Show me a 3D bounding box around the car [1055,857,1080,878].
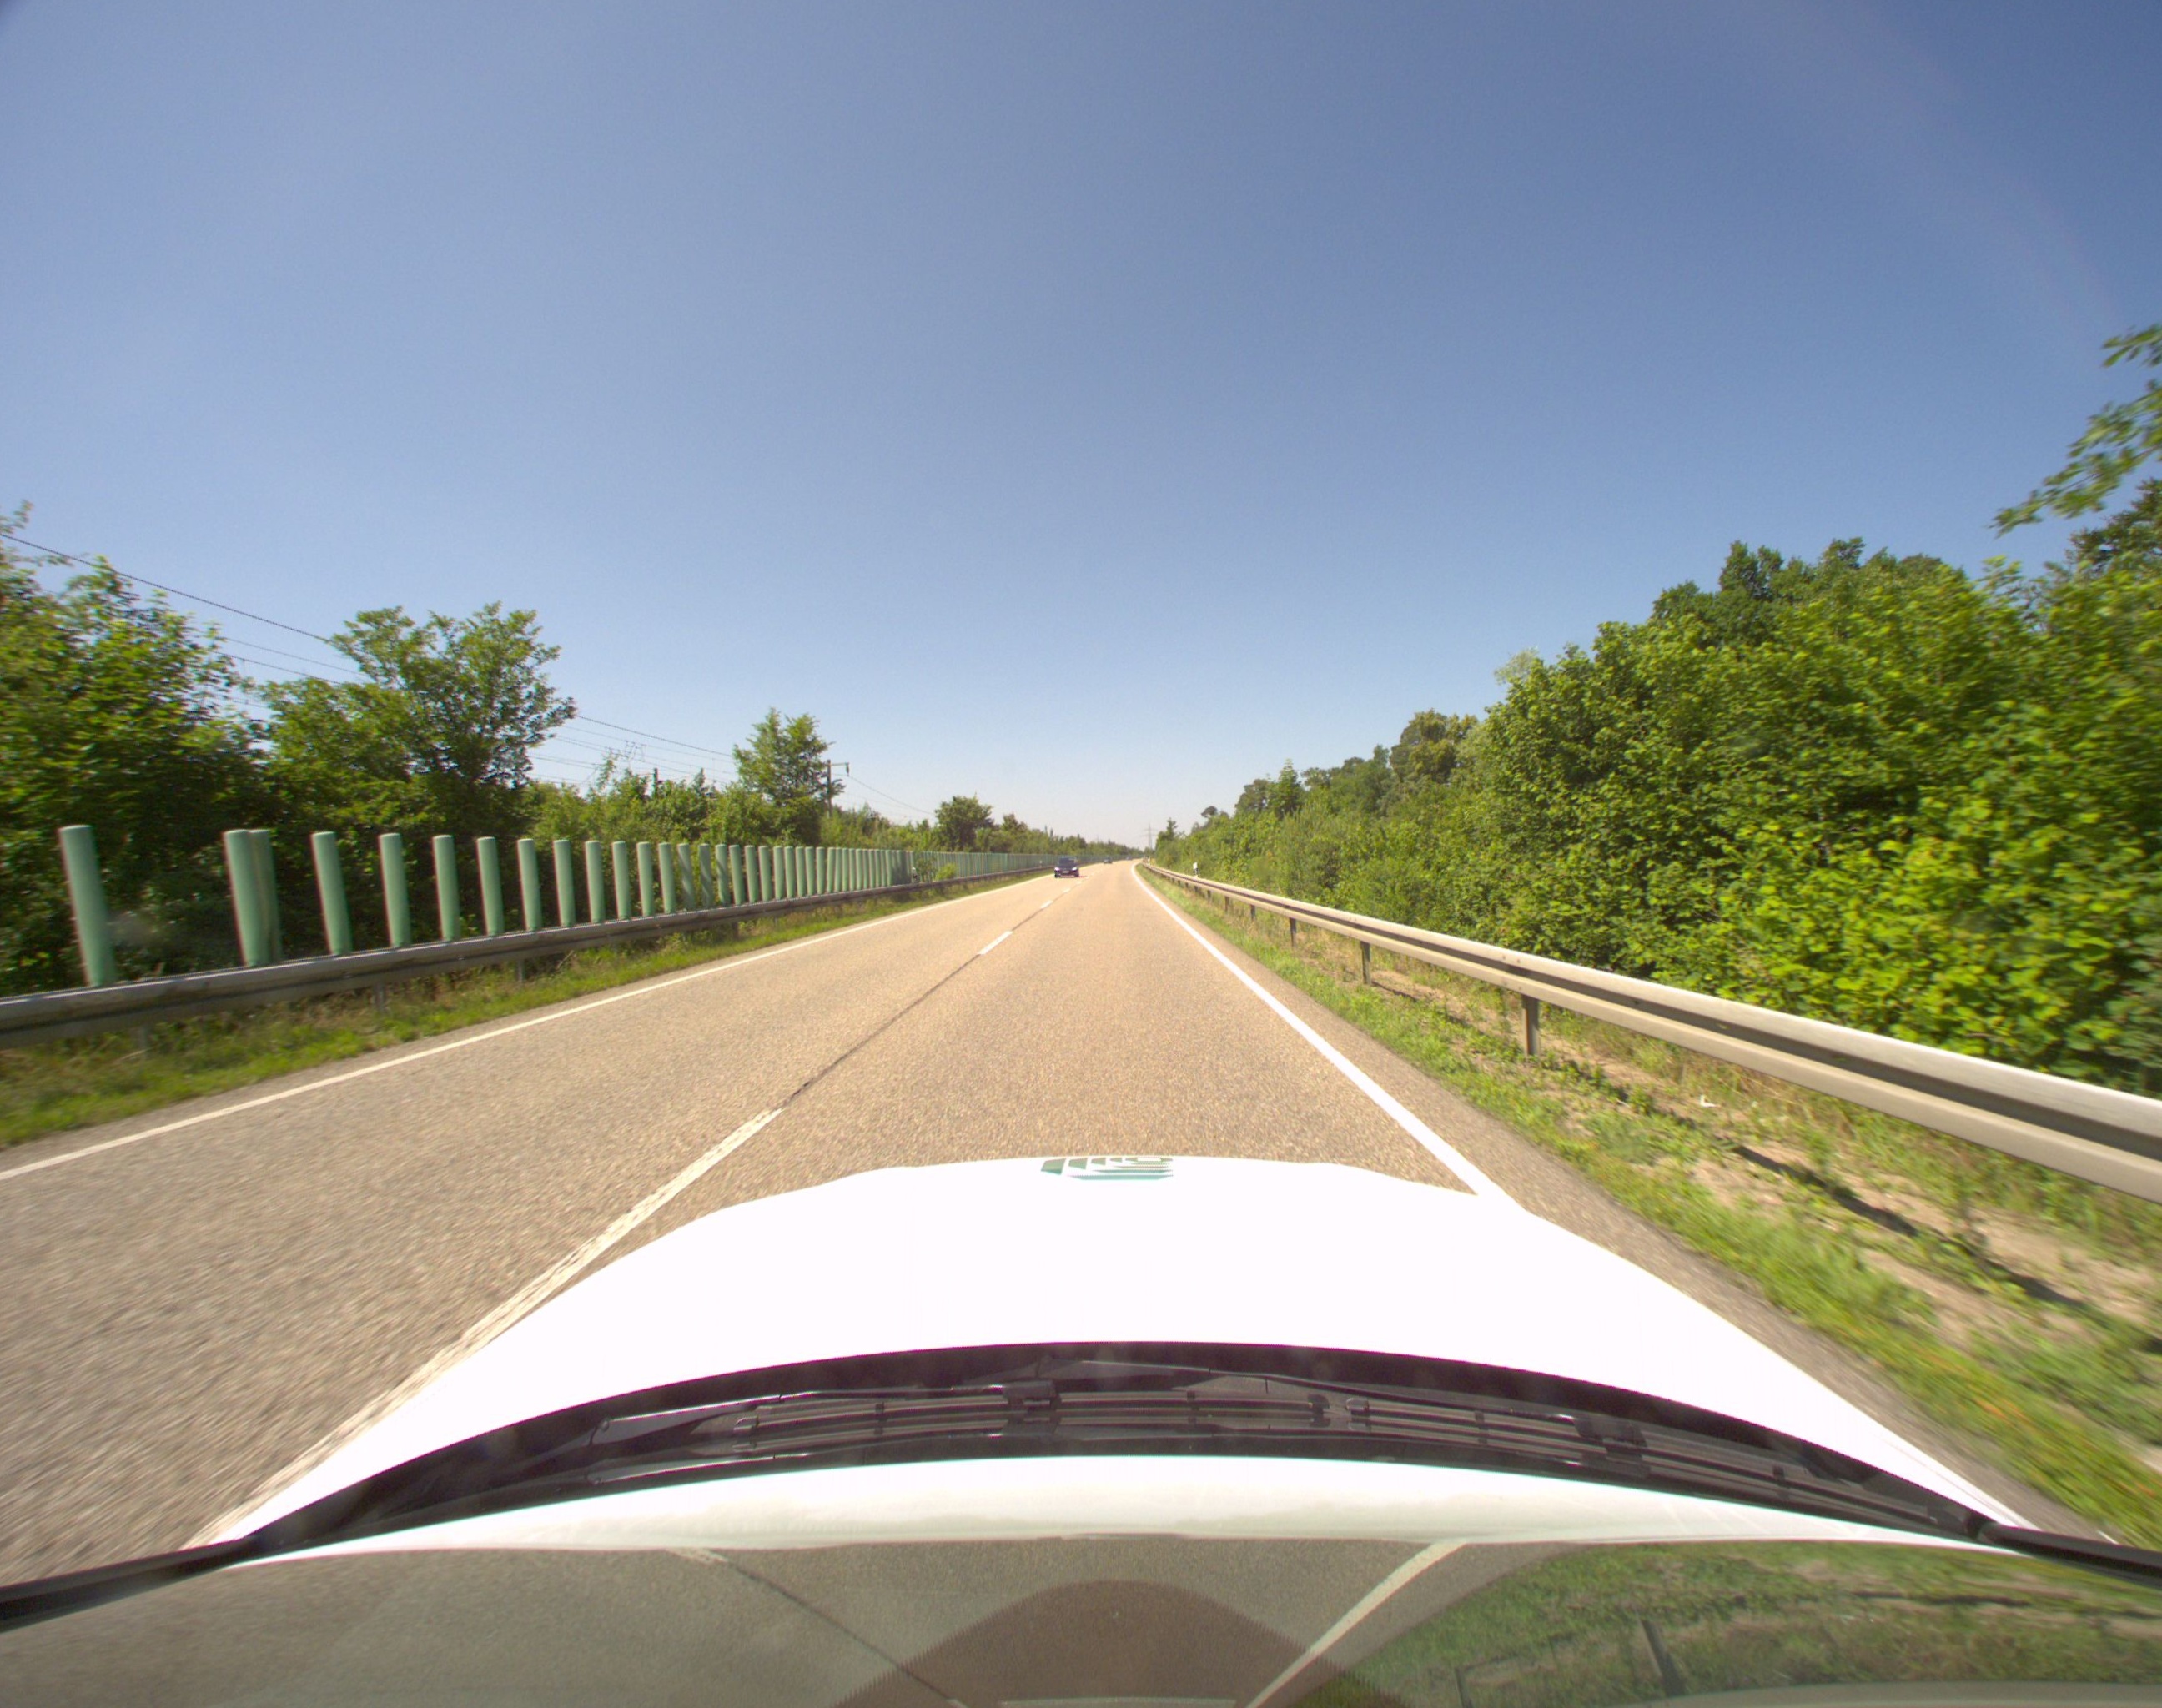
[{"bbox_3d":[-1.037,1.070,64.856,1.757,1.640,4.128,-1,-1,2],"label":"car"}]

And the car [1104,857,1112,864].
[{"bbox_3d":[5.553,1.291,169.390,1.642,1.479,3.679,-1,0,2],"label":"car"}]
